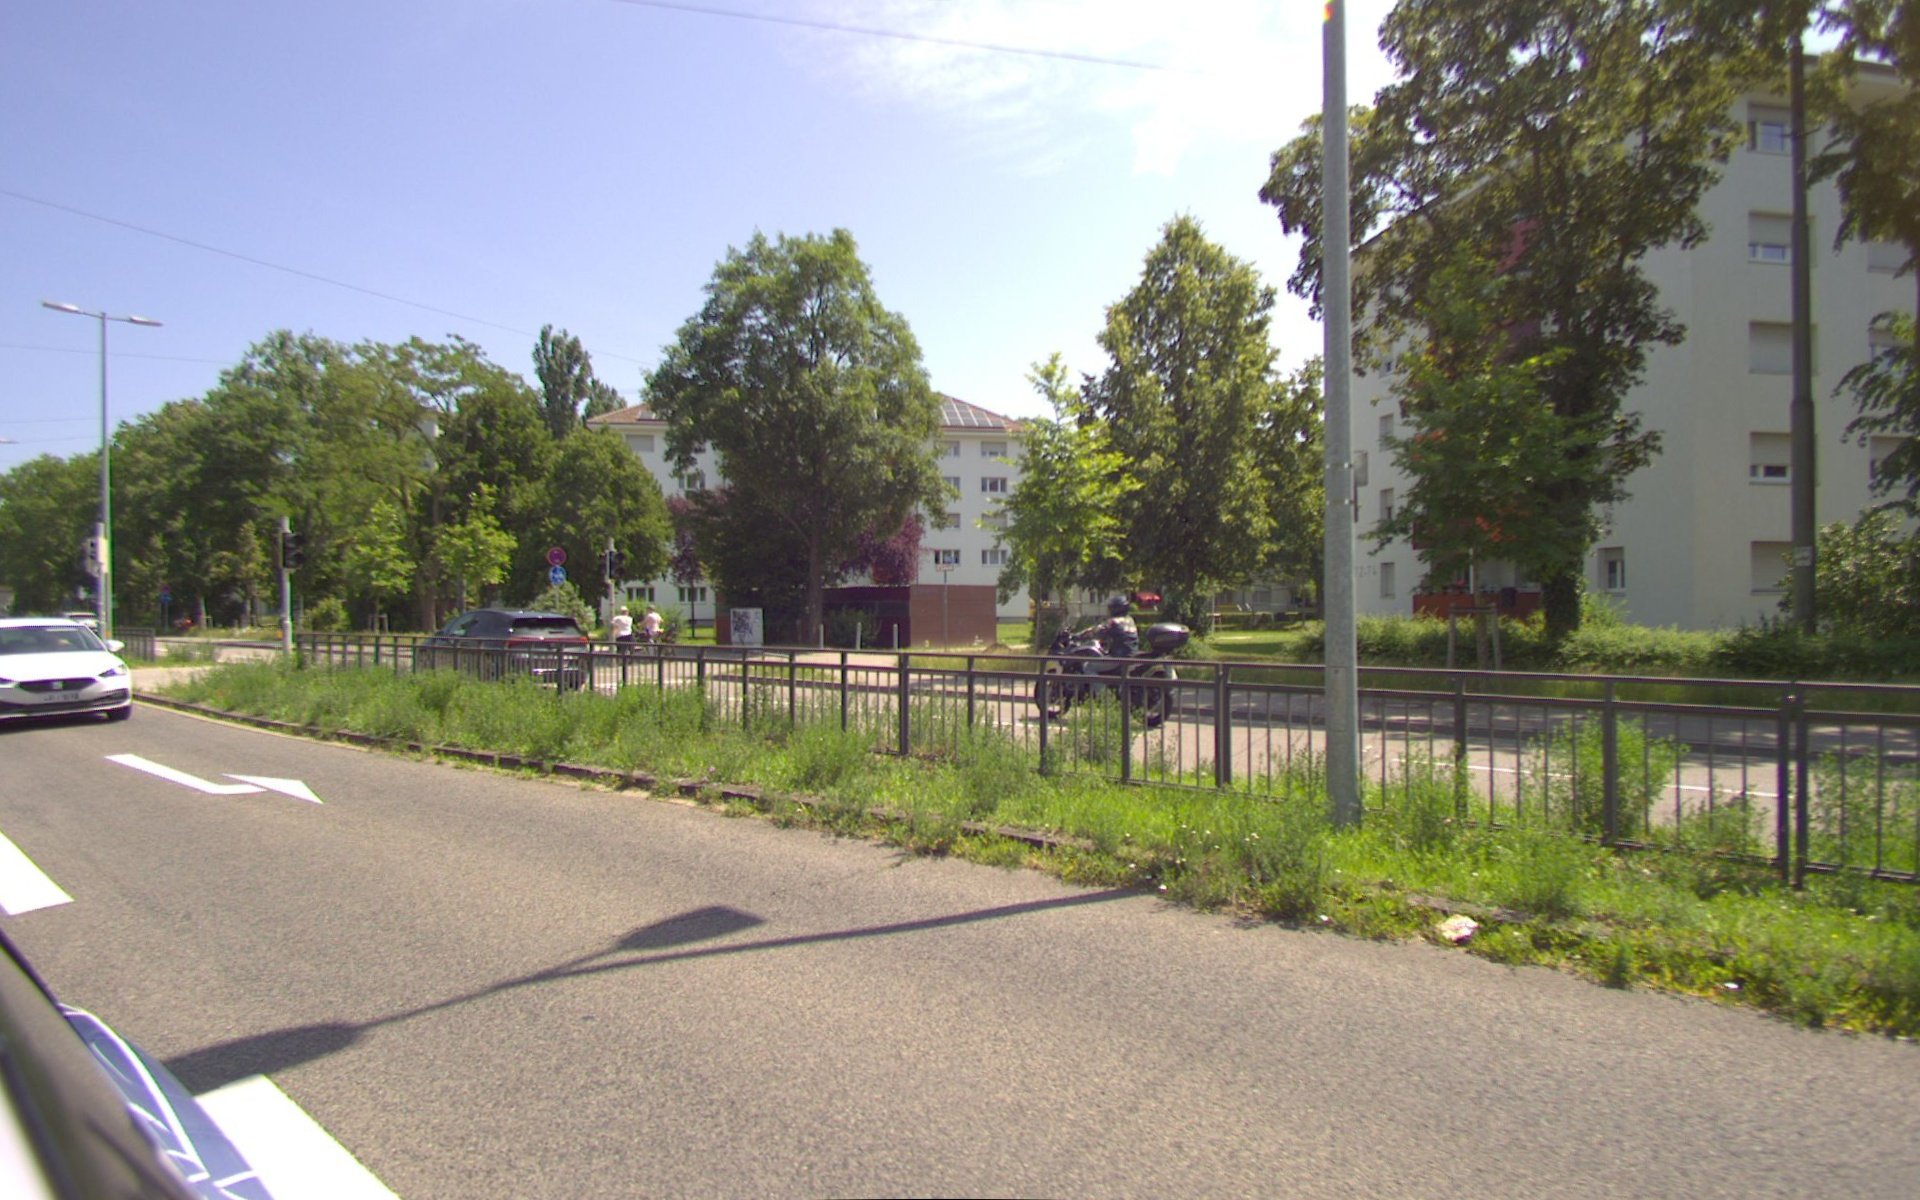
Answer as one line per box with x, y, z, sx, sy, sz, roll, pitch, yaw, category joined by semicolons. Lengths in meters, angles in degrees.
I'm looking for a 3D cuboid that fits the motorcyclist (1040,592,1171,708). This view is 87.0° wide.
1.877;0.622;13.130;1.509;1.414;0.729;-1;-1;36;motorcyclist

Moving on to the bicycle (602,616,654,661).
-8.839;1.006;26.887;1.615;1.141;0.582;-1;-1;41;bicycle

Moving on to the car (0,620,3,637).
-107.280;3.126;111.643;4.474;1.771;1.841;-1;0;38;car

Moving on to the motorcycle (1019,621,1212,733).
1.961;0.931;13.034;2.392;1.309;0.797;-1;-1;39;motorcycle

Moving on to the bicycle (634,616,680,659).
-8.190;0.989;27.297;1.379;1.102;0.548;0;1;42;bicycle

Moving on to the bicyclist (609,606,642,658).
-8.905;0.844;26.925;0.755;1.356;0.539;-1;-1;40;bicyclist

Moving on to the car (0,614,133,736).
-13.310;0.980;14.347;4.109;1.479;1.750;-1;1;41;car

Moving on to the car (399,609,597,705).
-8.825;0.981;19.202;4.156;1.554;1.739;0;1;39;car

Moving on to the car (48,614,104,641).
-53.206;1.621;60.893;4.342;1.584;1.803;-1;-1;39;car

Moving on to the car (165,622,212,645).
-56.735;2.450;74.412;3.998;1.597;1.973;-1;-1;41;car

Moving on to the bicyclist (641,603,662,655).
-8.349;0.779;27.415;0.440;1.402;0.353;-1;0;44;bicyclist
